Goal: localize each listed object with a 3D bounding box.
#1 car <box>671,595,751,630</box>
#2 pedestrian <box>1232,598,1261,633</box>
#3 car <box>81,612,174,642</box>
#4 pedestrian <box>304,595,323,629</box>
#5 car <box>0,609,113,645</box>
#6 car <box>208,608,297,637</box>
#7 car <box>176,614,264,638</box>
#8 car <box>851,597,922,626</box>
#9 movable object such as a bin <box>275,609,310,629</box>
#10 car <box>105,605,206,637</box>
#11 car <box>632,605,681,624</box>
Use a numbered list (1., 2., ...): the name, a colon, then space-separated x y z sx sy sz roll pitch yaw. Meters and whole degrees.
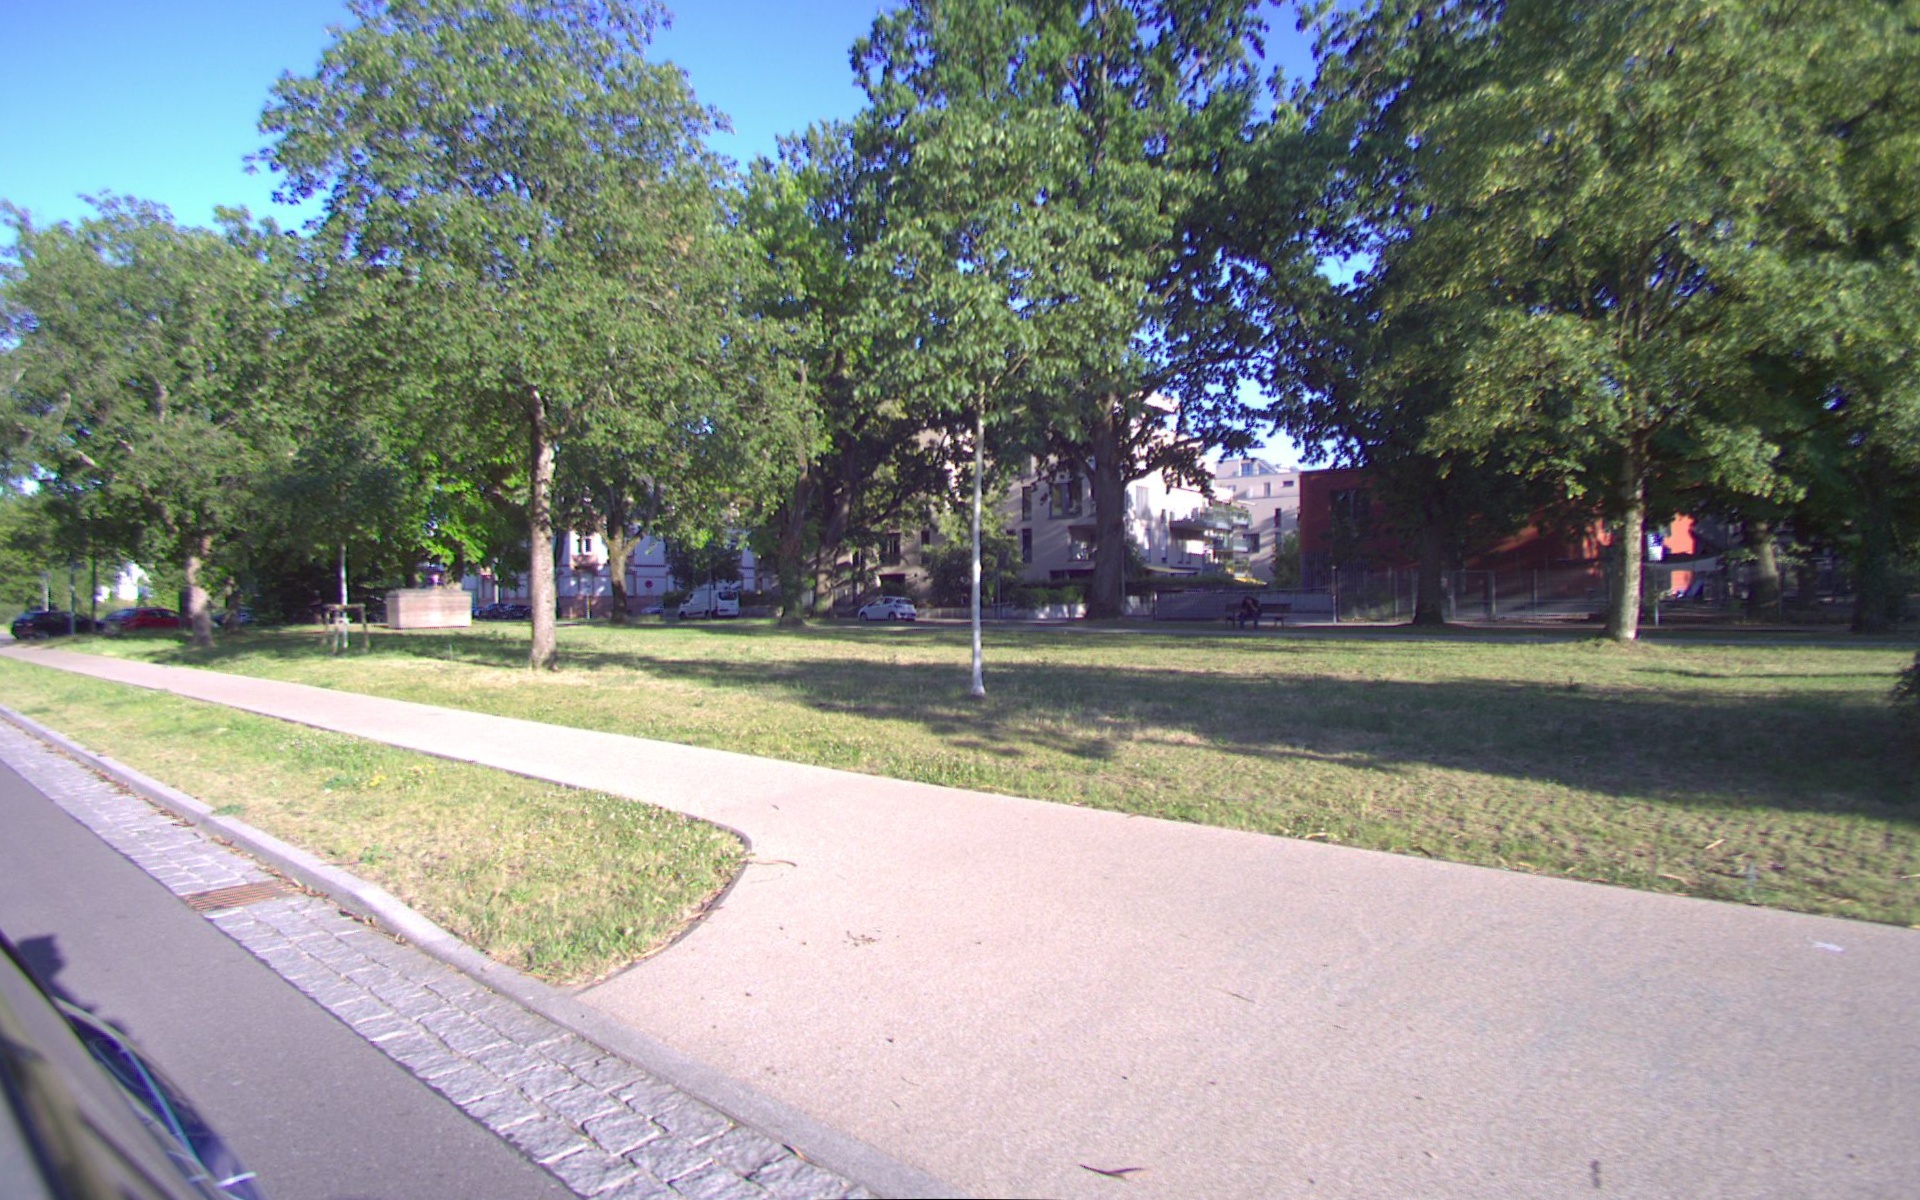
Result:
1. car: -15.918 0.799 64.591 4.969 2.130 2.640 -1 0 43
2. pedestrian: 8.176 0.435 28.869 0.541 0.994 0.611 0 0 -39
3. car: -48.397 1.543 58.903 1.824 1.643 3.825 0 0 17
4. pedestrian: -33.356 0.618 52.202 0.672 1.708 0.655 -1 0 42
5. car: -45.194 1.321 50.630 1.874 1.586 3.979 1 1 16
6. car: -41.979 1.297 60.145 1.877 1.586 3.974 1 1 20
7. car: -46.764 1.606 64.050 1.825 1.411 4.250 0 0 19
8. car: -4.256 0.665 58.365 3.736 1.630 1.973 -1 0 41
9. movable object such as a bin: -33.962 0.952 51.476 0.949 0.997 1.315 -1 0 41
10. car: -43.627 1.115 54.951 1.874 1.586 3.979 1 1 16
11. car: -27.900 1.299 93.158 1.890 1.586 3.946 1 1 40
